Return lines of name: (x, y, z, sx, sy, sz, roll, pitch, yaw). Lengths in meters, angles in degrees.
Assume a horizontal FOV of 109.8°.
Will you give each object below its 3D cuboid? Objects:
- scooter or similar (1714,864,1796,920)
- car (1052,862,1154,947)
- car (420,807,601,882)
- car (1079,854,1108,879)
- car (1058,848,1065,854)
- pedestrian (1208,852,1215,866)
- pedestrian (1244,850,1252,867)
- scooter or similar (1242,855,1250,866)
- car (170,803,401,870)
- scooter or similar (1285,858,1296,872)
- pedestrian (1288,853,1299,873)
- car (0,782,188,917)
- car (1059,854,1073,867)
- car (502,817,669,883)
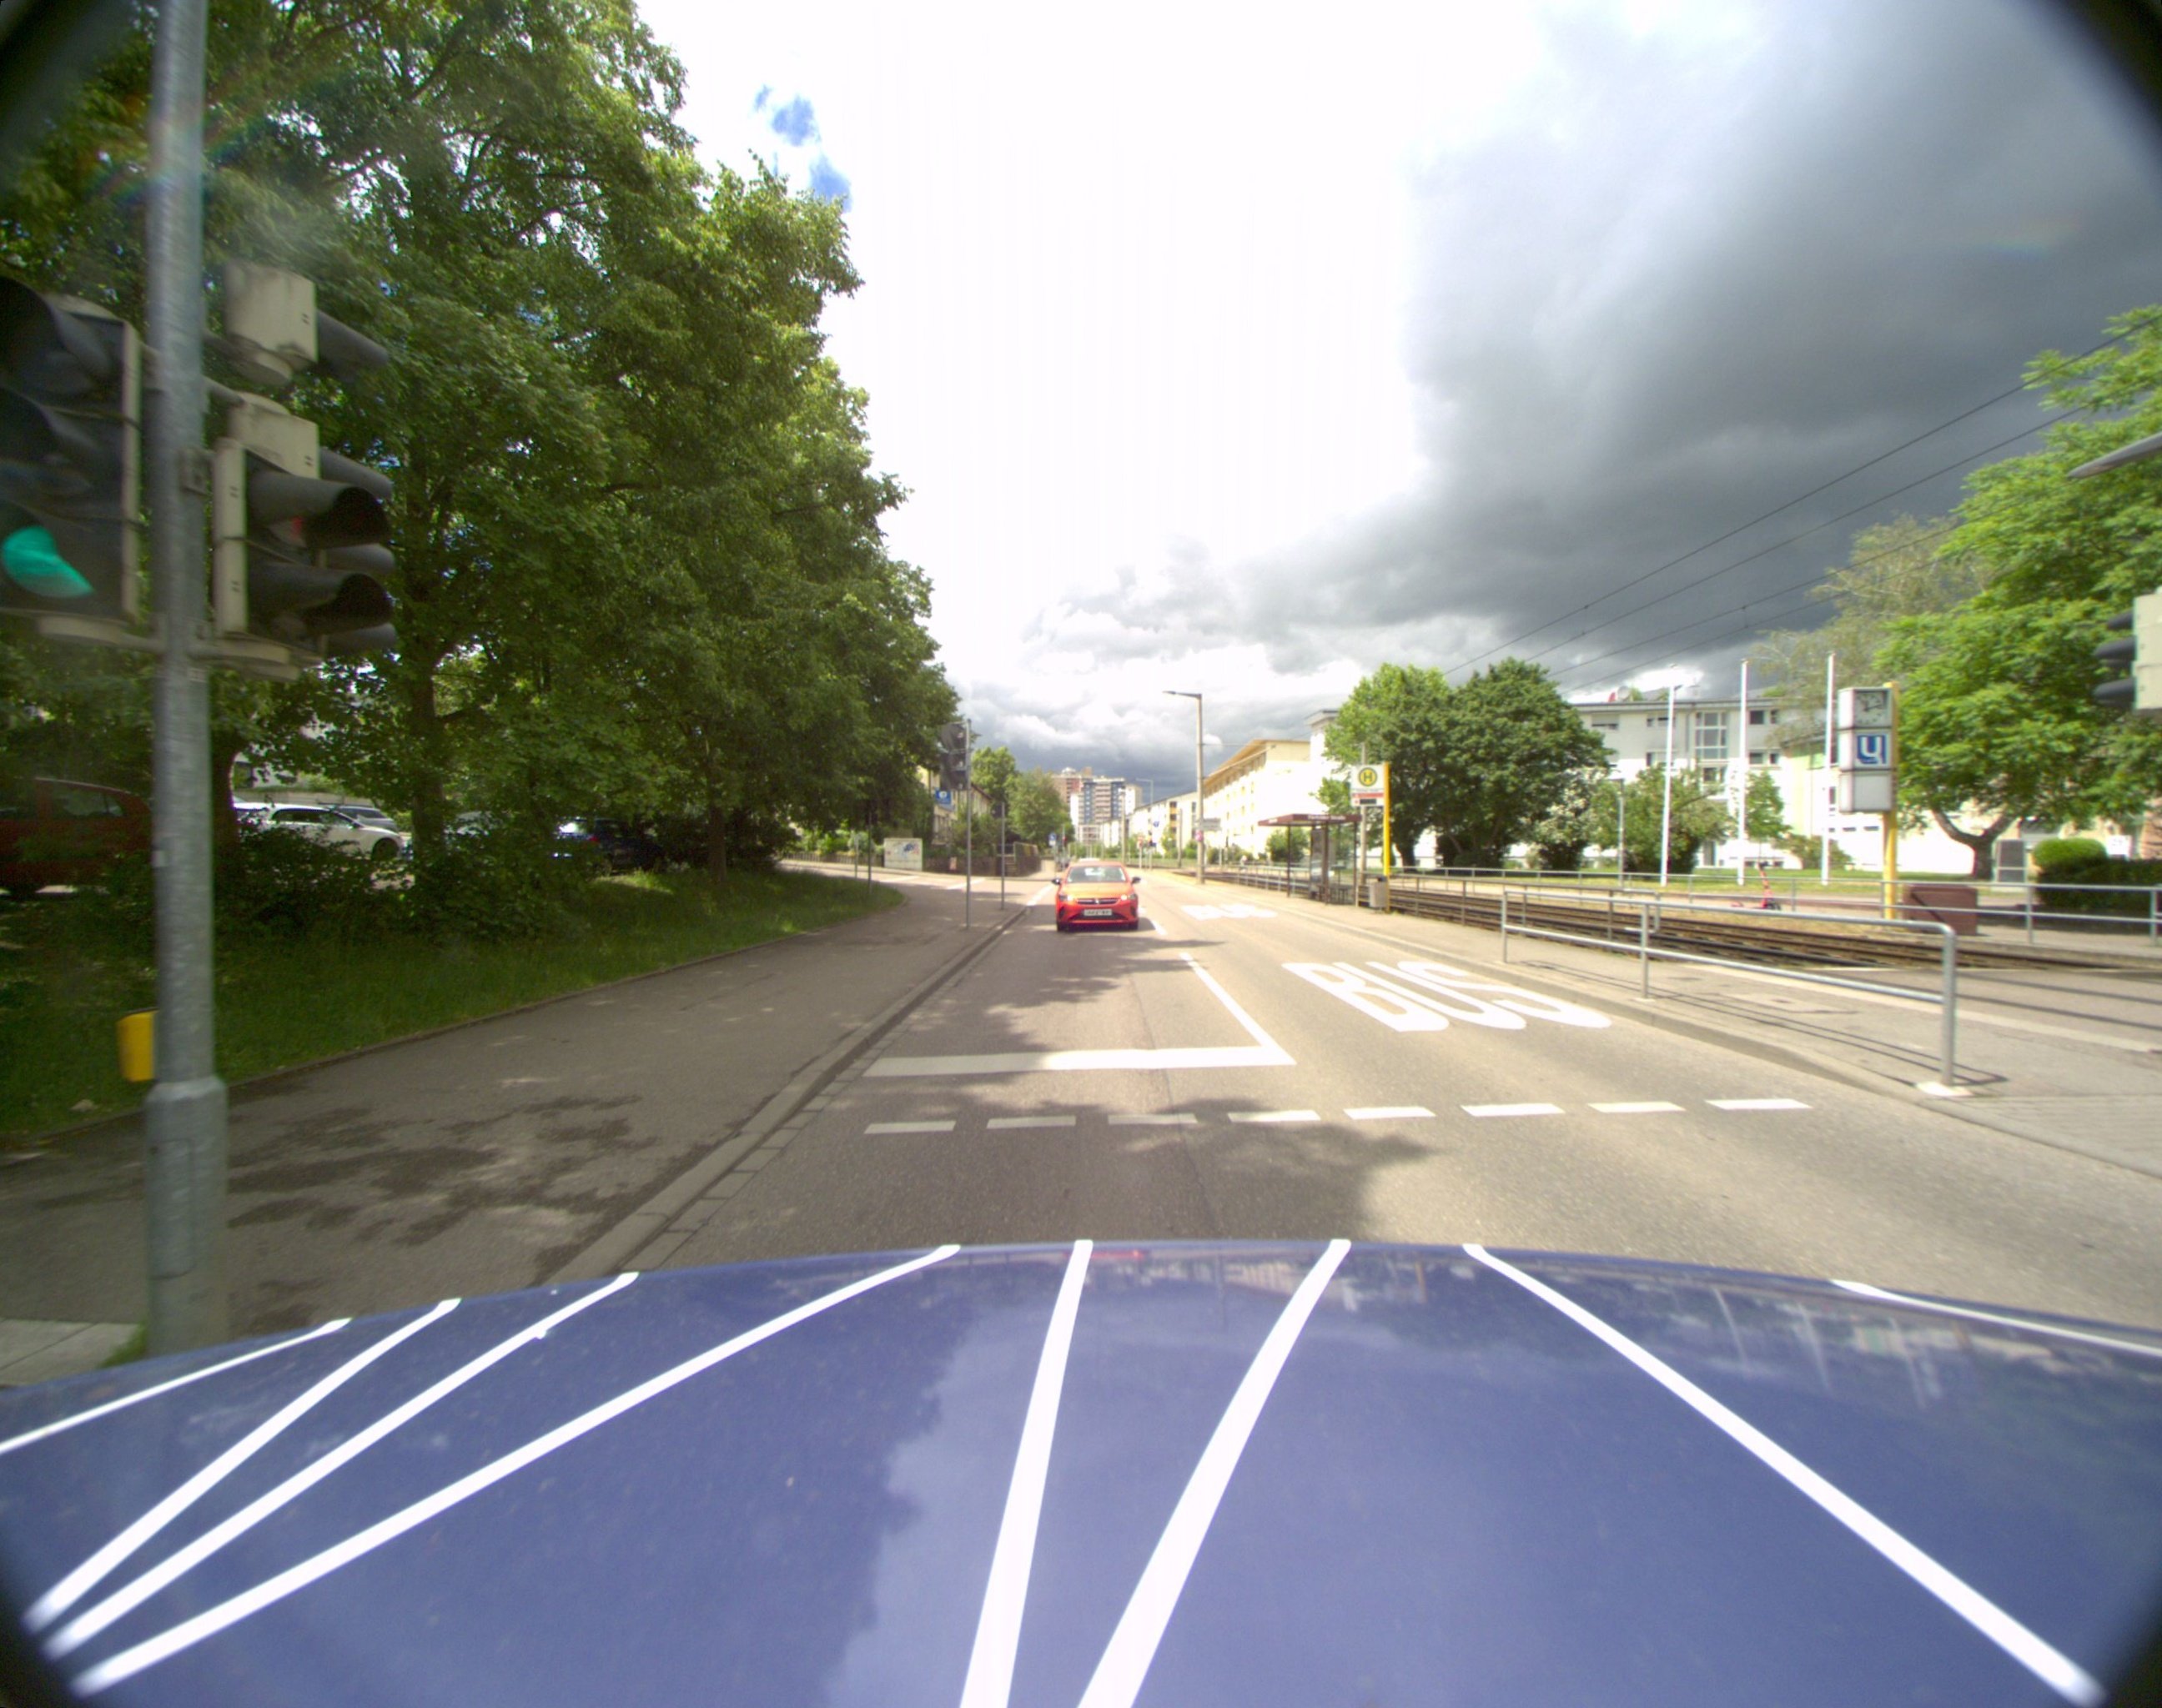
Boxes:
scooter or similar: (15.569, 0.850, 17.594, 0.651, 1.229, 1.401, -2, 0, 1)
car: (0.324, 0.946, 16.050, 1.783, 1.433, 4.130, -2, 0, -3)
car: (-14.258, -0.270, 19.304, 1.683, 1.626, 3.904, 4, 2, -2)
car: (0.738, 0.745, 46.330, 1.499, 1.477, 3.519, 0, 0, -3)
car: (-6.442, -0.979, 252.768, 2.237, 2.050, 4.360, 1, 0, -3)
pedestrian: (15.693, 0.589, 91.402, 0.605, 1.598, 0.773, -2, 1, -1)
pedestrian: (16.519, 0.432, 75.266, 0.647, 1.683, 0.679, -1, 1, 1)
scooter or similar: (16.521, 0.656, 76.052, 0.609, 1.156, 0.892, 0, 1, 1)
car: (-19.612, -0.469, 19.020, 1.619, 1.412, 3.925, 3, 3, 1)
scooter or similar: (16.745, 0.903, 60.776, 0.606, 1.108, 0.821, -1, 1, -1)
pedestrian: (16.758, 0.693, 59.915, 0.614, 1.531, 0.874, -1, 1, -1)
car: (-12.768, -0.084, 8.292, 1.665, 1.492, 3.662, 2, 0, 1)
car: (-1.933, 0.823, 96.938, 1.760, 1.570, 4.020, 1, 0, -3)
car: (-12.397, -0.153, 19.345, 1.828, 1.503, 3.812, 1, 2, -2)
